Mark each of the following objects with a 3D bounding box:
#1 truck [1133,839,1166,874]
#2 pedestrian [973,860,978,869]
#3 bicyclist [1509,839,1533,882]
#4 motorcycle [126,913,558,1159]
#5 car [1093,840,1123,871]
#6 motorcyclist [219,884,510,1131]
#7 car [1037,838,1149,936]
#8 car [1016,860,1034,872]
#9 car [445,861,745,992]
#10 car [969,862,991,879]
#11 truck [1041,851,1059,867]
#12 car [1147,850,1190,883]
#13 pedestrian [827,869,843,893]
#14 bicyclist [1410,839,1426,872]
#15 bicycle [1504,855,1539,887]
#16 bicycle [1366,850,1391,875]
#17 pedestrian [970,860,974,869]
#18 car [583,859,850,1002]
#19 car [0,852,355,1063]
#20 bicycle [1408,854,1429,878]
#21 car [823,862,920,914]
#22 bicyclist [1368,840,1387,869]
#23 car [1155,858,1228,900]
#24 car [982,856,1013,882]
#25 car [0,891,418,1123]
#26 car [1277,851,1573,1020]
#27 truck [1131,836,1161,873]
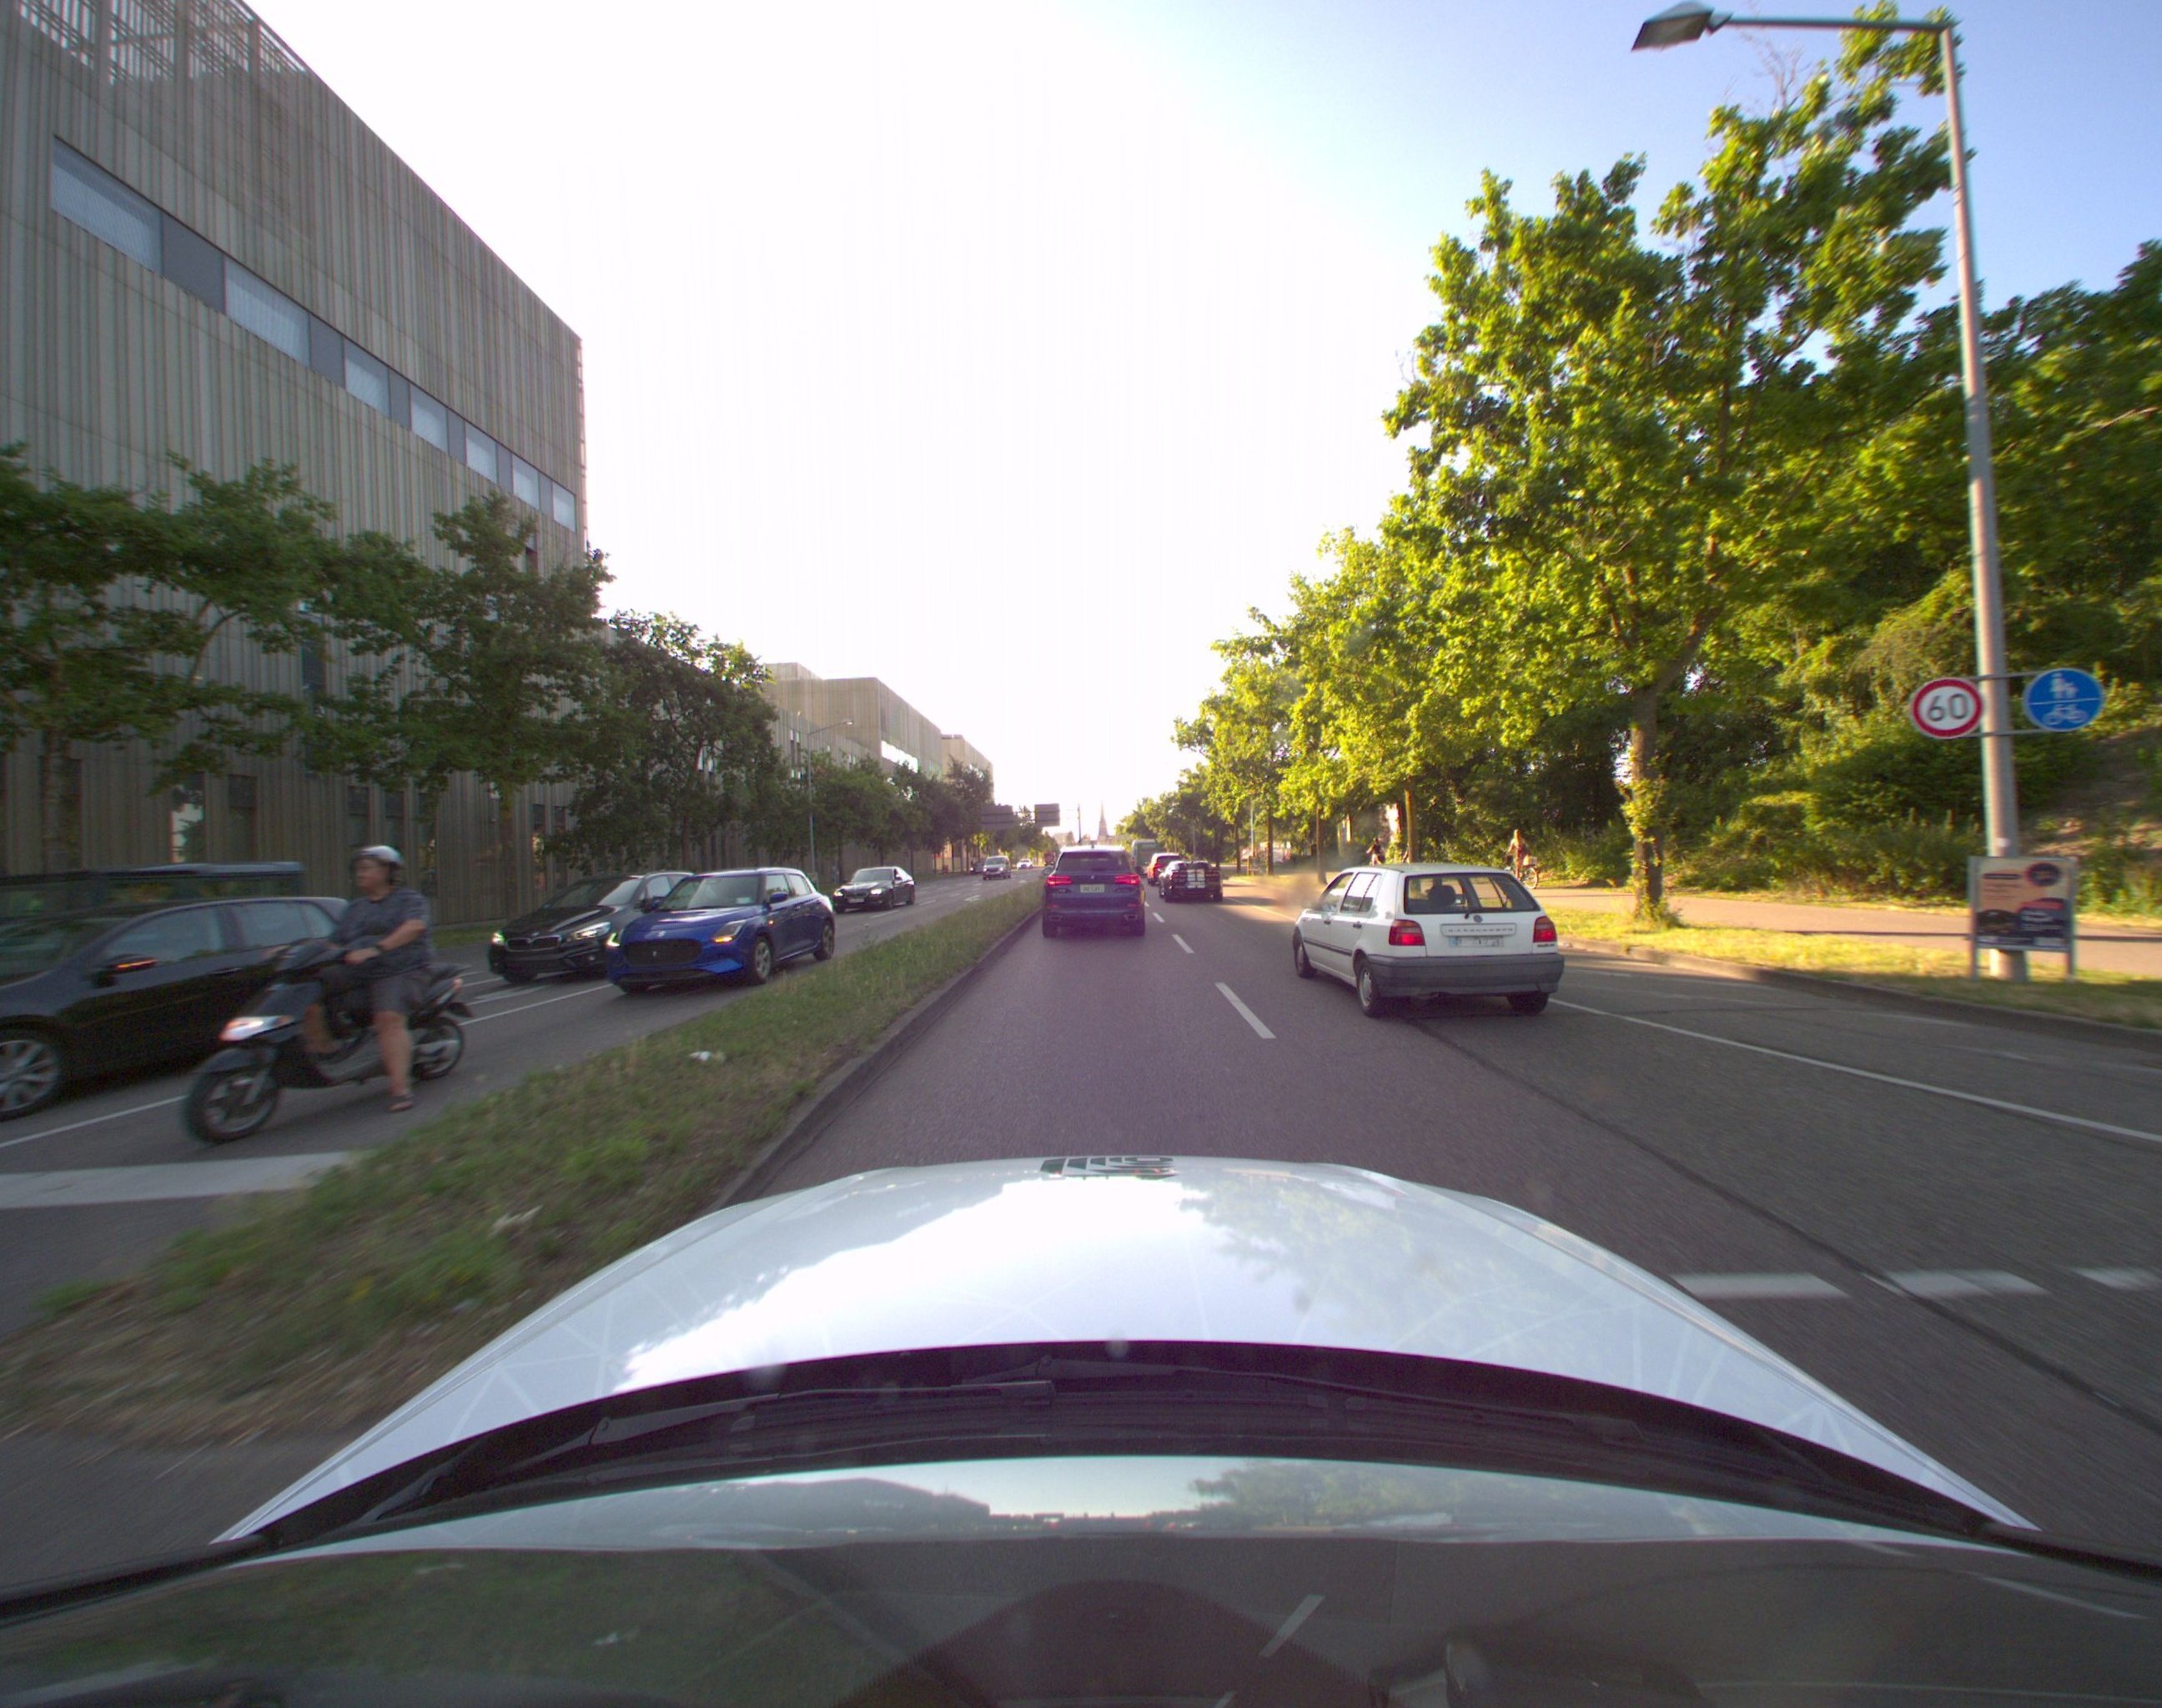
[{"bbox_3d":[4.691,0.209,56.287,1.989,2.315,4.001,-1,-1,2],"label":"truck"},{"bbox_3d":[-17.828,1.703,137.987,0.624,1.522,0.719,-1,-2,4],"label":"pedestrian"},{"bbox_3d":[13.031,0.192,24.121,0.426,1.233,0.460,-3,-2,1],"label":"bicyclist"},{"bbox_3d":[-4.710,1.052,5.552,0.838,1.076,2.396,-4,0,-5],"label":"motorcycle"},{"bbox_3d":[2.342,0.166,71.103,2.132,2.576,5.080,-1,-1,-3],"label":"car"},{"bbox_3d":[-4.710,0.933,5.493,0.796,1.349,1.272,-4,1,-5],"label":"motorcyclist"},{"bbox_3d":[0.280,0.644,16.954,1.986,1.734,4.534,-1,-1,2],"label":"car"},{"bbox_3d":[-7.952,1.743,116.109,1.987,1.452,4.714,-6,-1,0],"label":"car"},{"bbox_3d":[-7.624,1.037,13.490,1.987,1.591,4.714,-6,-1,0],"label":"car"},{"bbox_3d":[-11.518,1.855,93.168,1.751,1.705,4.494,-6,-1,0],"label":"car"},{"bbox_3d":[-7.964,1.337,211.926,3.975,4.088,11.448,-1,-1,1],"label":"truck"},{"bbox_3d":[4.354,0.661,41.042,1.789,1.559,4.001,-1,-1,2],"label":"car"},{"bbox_3d":[-21.022,2.266,69.654,1.015,2.014,0.962,-1,-2,1],"label":"pedestrian"},{"bbox_3d":[13.367,0.064,32.328,0.426,1.309,0.460,-1,-2,1],"label":"bicyclist"},{"bbox_3d":[13.040,0.499,24.125,0.436,0.914,1.027,-4,-1,2],"label":"bicycle"},{"bbox_3d":[13.650,0.385,37.359,0.562,1.112,1.622,-1,-1,2],"label":"bicycle"},{"bbox_3d":[-18.566,1.724,138.533,0.624,1.522,0.719,-1,-2,4],"label":"pedestrian"},{"bbox_3d":[-4.704,0.904,11.194,1.695,1.452,3.859,-6,-1,2],"label":"car"},{"bbox_3d":[-11.144,1.055,9.372,1.789,1.978,3.994,-5,0,0],"label":"car"},{"bbox_3d":[13.372,0.481,32.292,0.436,0.914,1.027,-1,-1,2],"label":"bicycle"},{"bbox_3d":[-7.143,1.130,28.355,1.987,1.452,4.797,-6,-1,0],"label":"car"},{"bbox_3d":[13.650,0.028,37.520,0.541,1.316,0.835,-1,-1,1],"label":"bicyclist"},{"bbox_3d":[3.631,0.827,27.411,1.986,1.295,4.001,-1,-1,2],"label":"car"},{"bbox_3d":[-6.468,1.177,63.347,1.751,1.777,4.494,-6,-1,0],"label":"car"},{"bbox_3d":[-8.258,1.106,6.831,1.987,1.475,4.080,0,-1,0],"label":"car"},{"bbox_3d":[3.413,0.736,8.967,1.573,1.413,4.062,-1,-1,1],"label":"car"},{"bbox_3d":[4.844,0.106,61.076,1.989,2.669,4.001,-1,-1,2],"label":"truck"}]
